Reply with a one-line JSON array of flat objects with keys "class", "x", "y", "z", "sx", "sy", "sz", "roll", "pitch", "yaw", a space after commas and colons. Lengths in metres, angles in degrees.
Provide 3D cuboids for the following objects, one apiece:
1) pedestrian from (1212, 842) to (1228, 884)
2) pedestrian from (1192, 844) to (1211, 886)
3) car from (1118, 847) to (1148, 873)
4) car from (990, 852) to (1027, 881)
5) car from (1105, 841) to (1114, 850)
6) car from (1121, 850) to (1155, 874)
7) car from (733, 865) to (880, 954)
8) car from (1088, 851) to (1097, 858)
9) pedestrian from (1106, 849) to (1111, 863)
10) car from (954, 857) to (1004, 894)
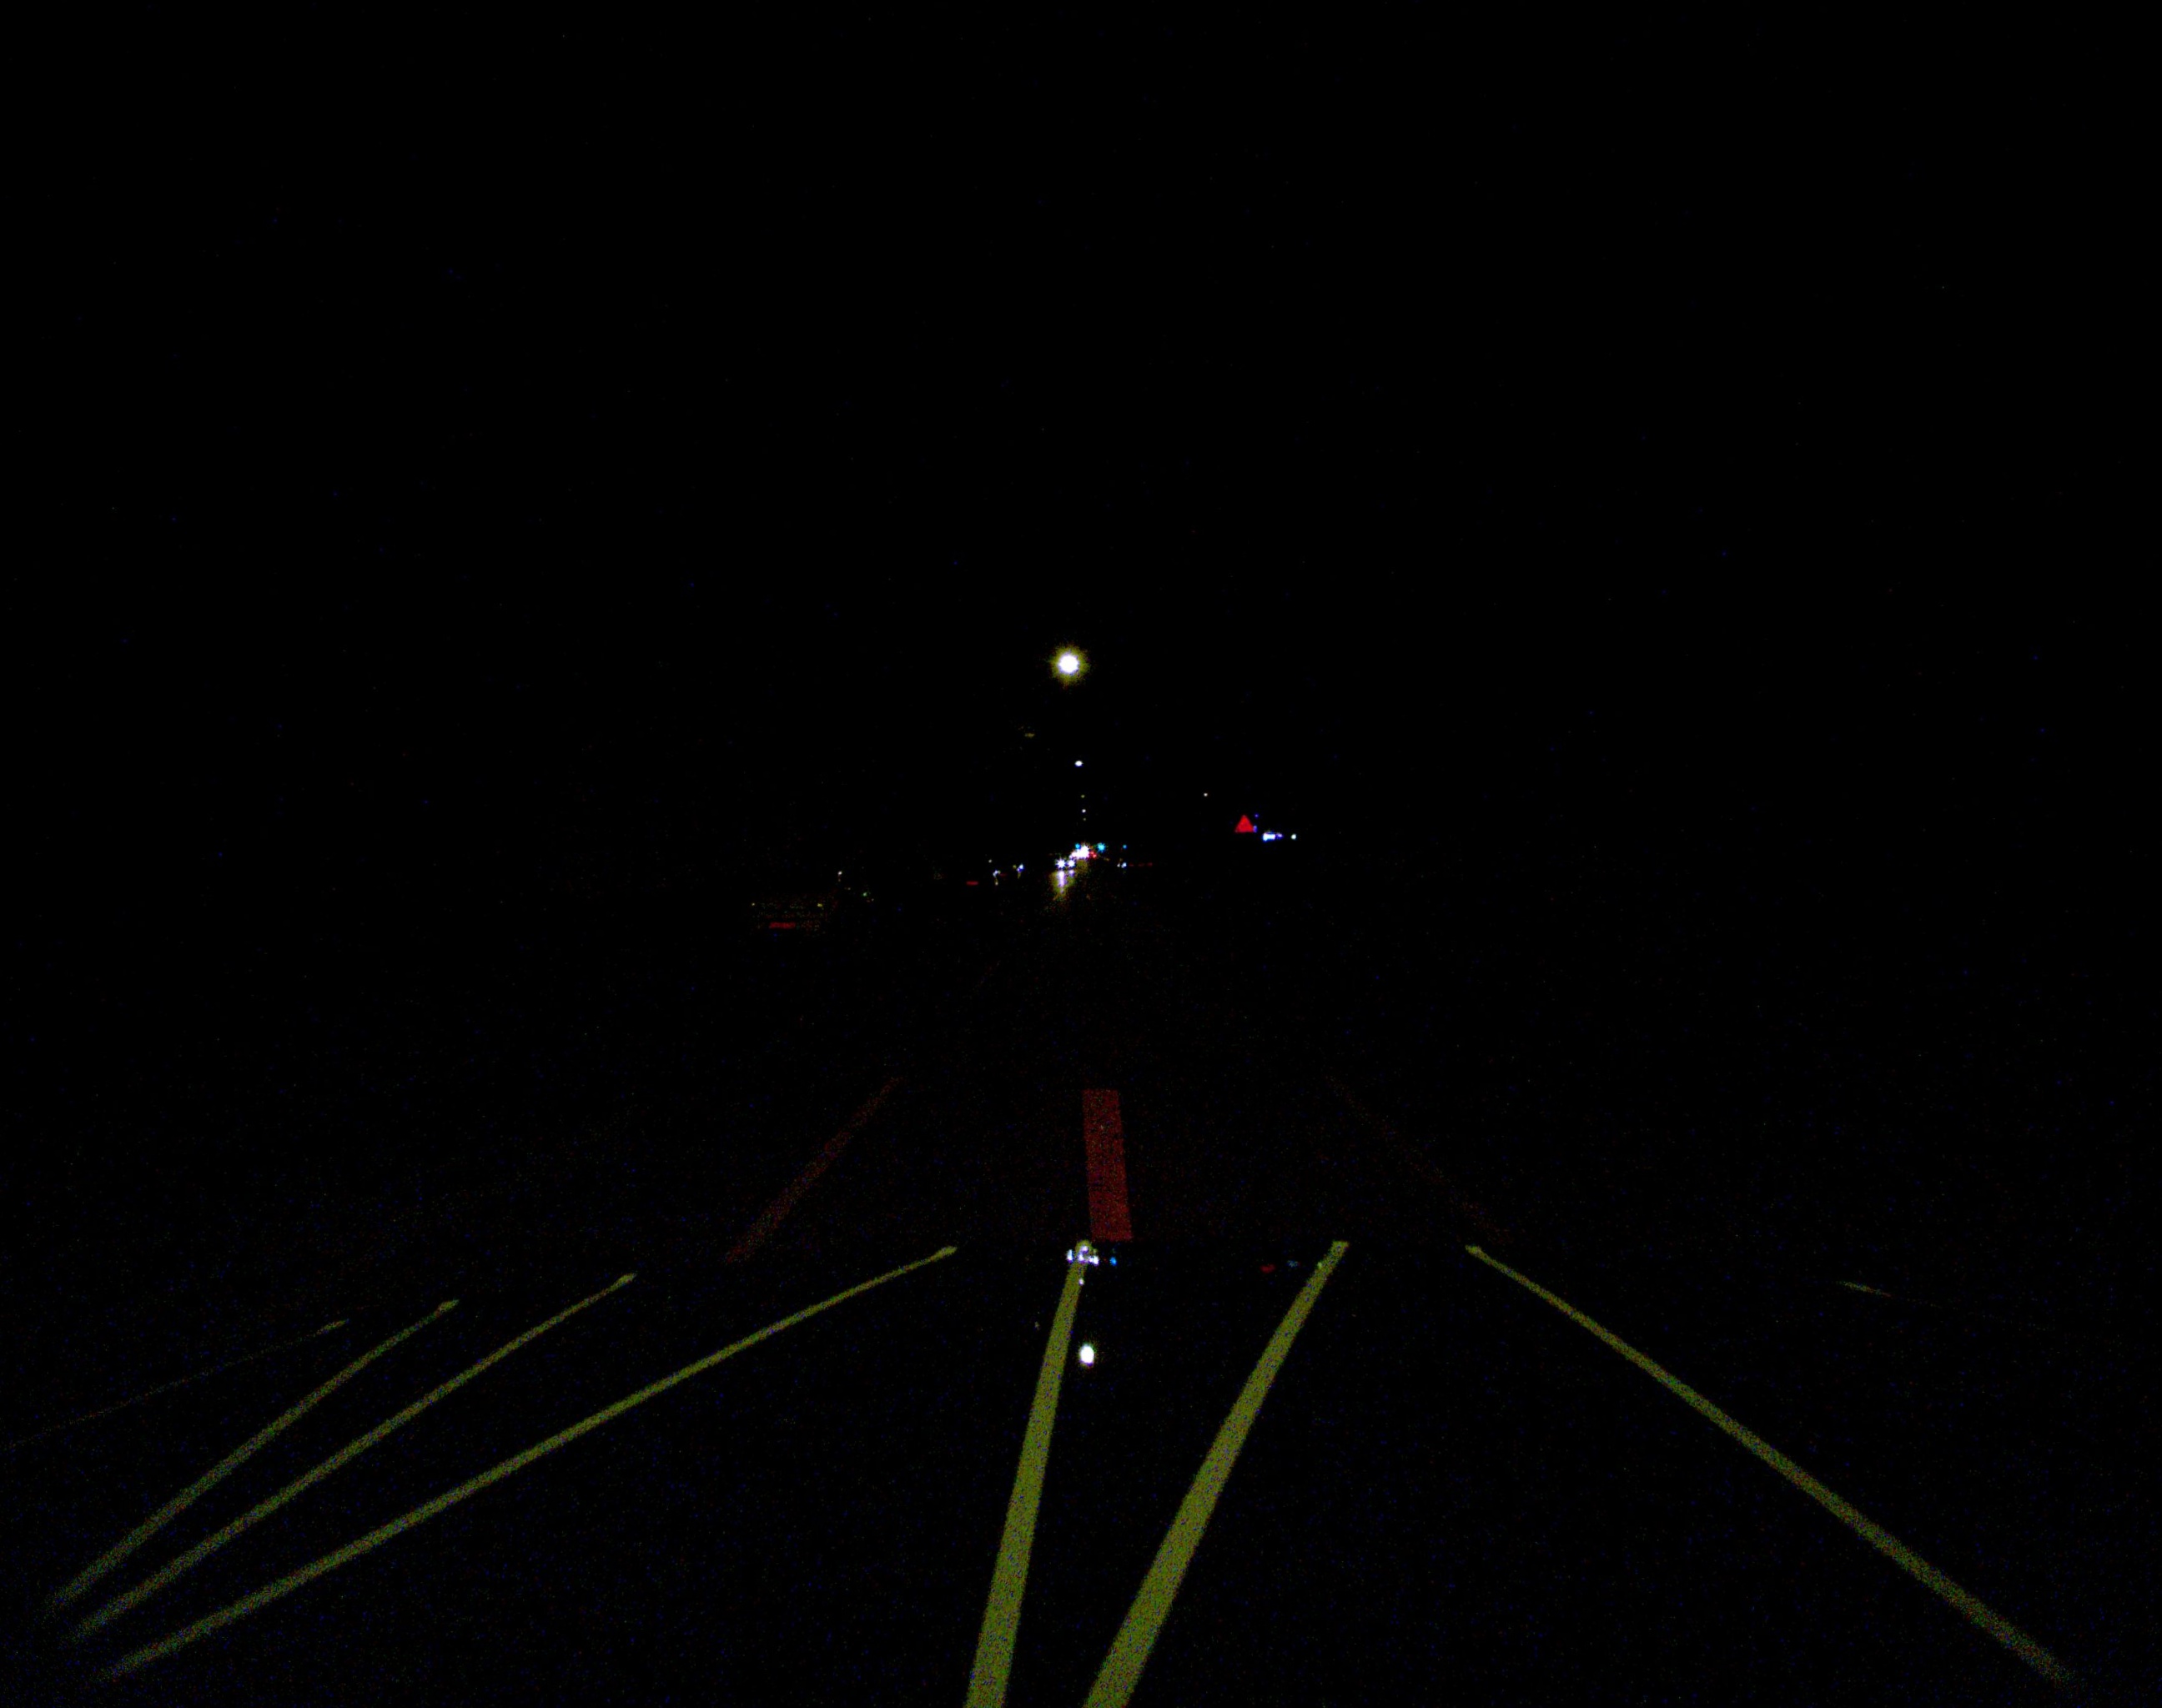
[{"class": "pedestrian", "x": 5.929, "y": 0.371, "z": 32.435, "sx": 0.565, "sy": 1.750, "sz": 0.500, "roll": -2, "pitch": 1, "yaw": 1}, {"class": "pedestrian", "x": 5.093, "y": 0.448, "z": 32.191, "sx": 0.673, "sy": 1.750, "sz": 0.500, "roll": -2, "pitch": 1, "yaw": 1}, {"class": "car", "x": 3.863, "y": 0.400, "z": 56.937, "sx": 1.998, "sy": 1.772, "sz": 3.999, "roll": -2, "pitch": 1, "yaw": 1}, {"class": "car", "x": -4.461, "y": 0.747, "z": 47.478, "sx": 1.852, "sy": 1.643, "sz": 4.179, "roll": -2, "pitch": 0, "yaw": 0}, {"class": "car", "x": 5.774, "y": -1.702, "z": 153.991, "sx": 1.903, "sy": 1.581, "sz": 3.661, "roll": -2, "pitch": 1, "yaw": 2}, {"class": "car", "x": 3.889, "y": 0.509, "z": 52.079, "sx": 1.998, "sy": 1.477, "sz": 3.999, "roll": -3, "pitch": 1, "yaw": 1}, {"class": "car", "x": -5.291, "y": 1.006, "z": 15.101, "sx": 1.611, "sy": 1.500, "sz": 3.486, "roll": 0, "pitch": 0, "yaw": 1}, {"class": "car", "x": 2.403, "y": 0.121, "z": 161.945, "sx": 1.754, "sy": 1.433, "sz": 3.487, "roll": -2, "pitch": -2, "yaw": 1}, {"class": "pedestrian", "x": 4.265, "y": 0.305, "z": 118.071, "sx": 0.804, "sy": 2.002, "sz": 0.940, "roll": -2, "pitch": 1, "yaw": 1}, {"class": "car", "x": -4.470, "y": 0.901, "z": 33.946, "sx": 1.742, "sy": 1.489, "sz": 3.890, "roll": -1, "pitch": 0, "yaw": -1}]
